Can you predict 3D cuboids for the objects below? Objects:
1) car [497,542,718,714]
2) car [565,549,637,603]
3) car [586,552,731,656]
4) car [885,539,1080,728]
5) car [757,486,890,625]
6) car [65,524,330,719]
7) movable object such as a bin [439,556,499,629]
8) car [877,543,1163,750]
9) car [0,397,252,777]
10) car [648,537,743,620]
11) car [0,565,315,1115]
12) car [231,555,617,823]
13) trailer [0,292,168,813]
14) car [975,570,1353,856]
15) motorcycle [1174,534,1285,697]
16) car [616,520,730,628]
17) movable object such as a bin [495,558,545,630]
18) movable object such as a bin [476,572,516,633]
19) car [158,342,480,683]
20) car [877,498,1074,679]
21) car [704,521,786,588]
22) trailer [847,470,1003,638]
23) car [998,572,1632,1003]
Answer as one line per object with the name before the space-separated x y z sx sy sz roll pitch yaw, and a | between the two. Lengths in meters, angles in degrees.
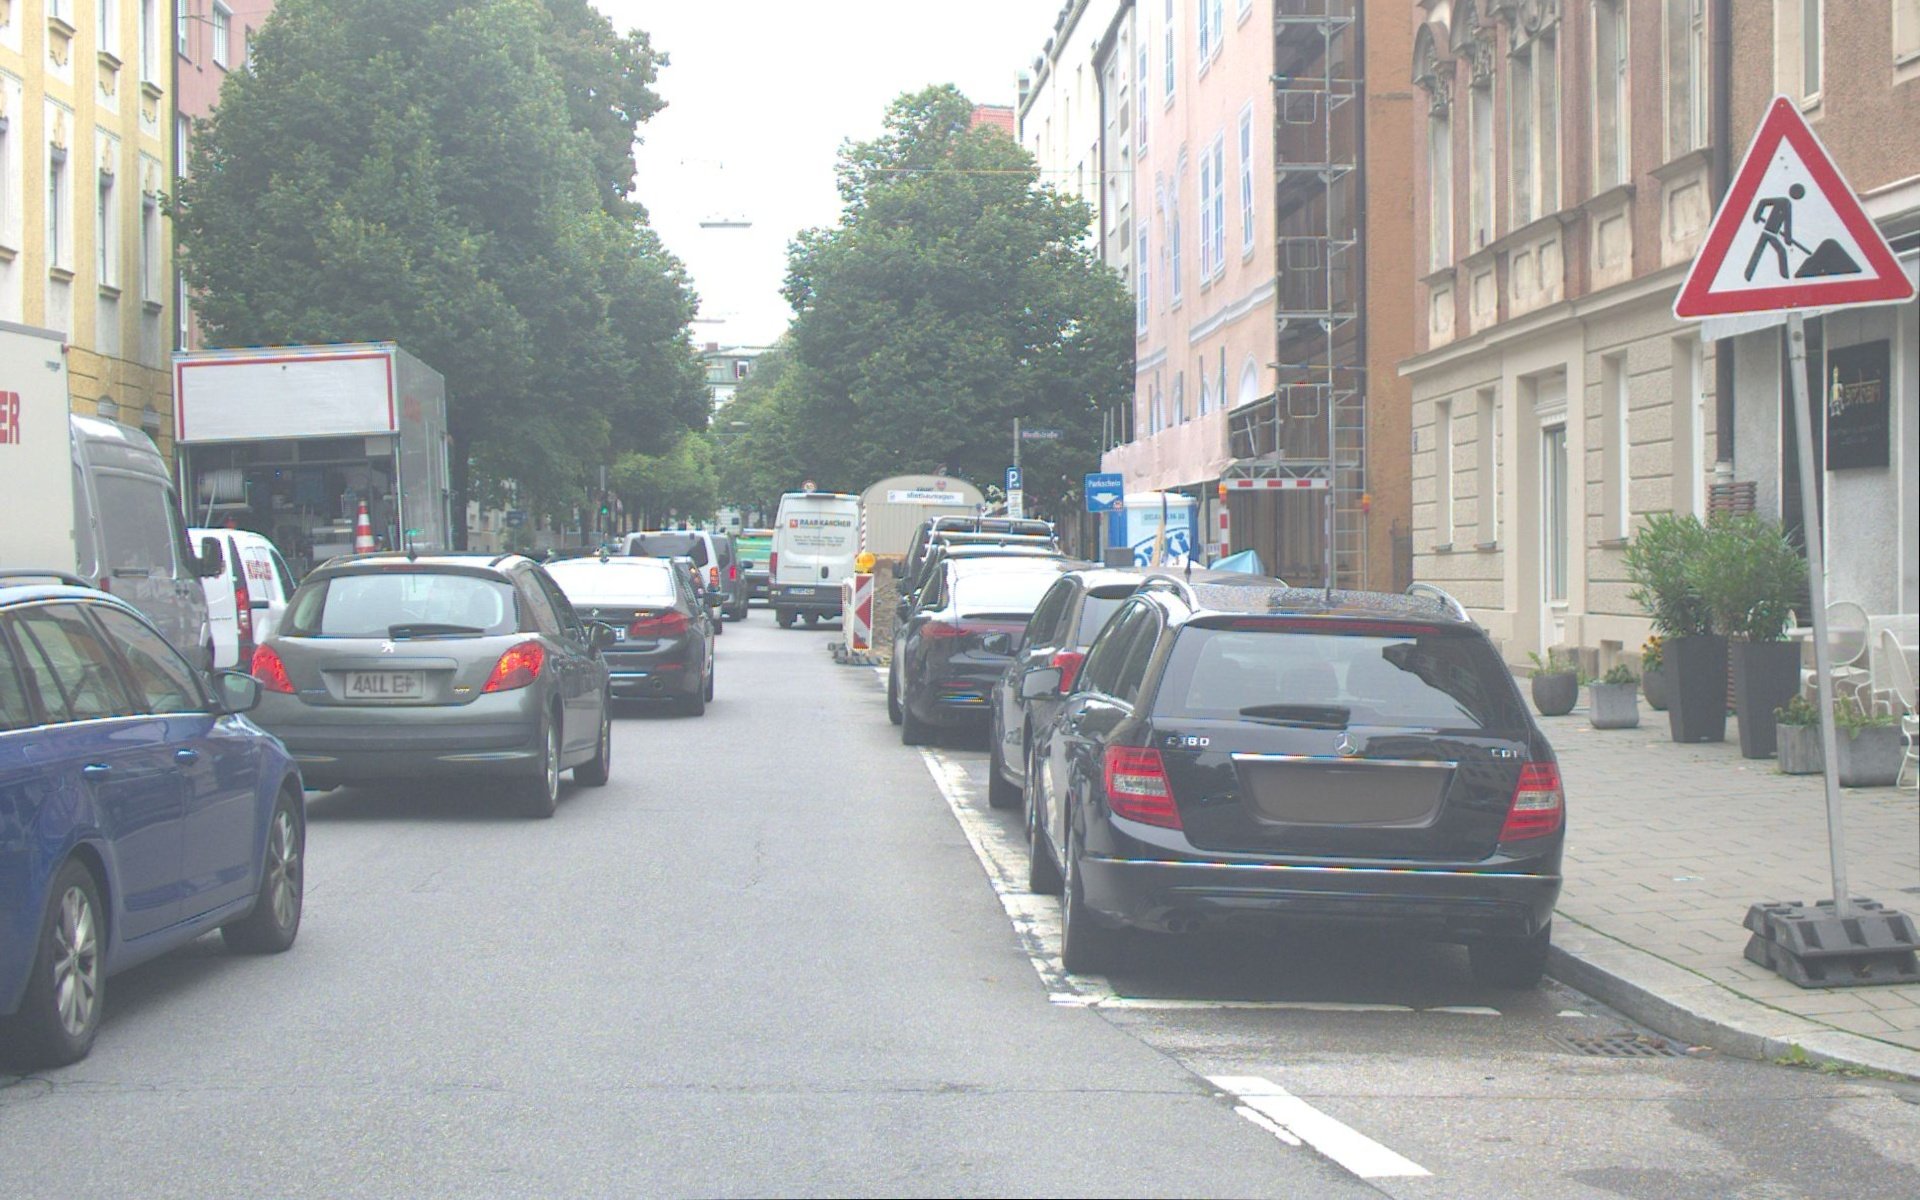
car | -3.240 0.211 32.273 1.867 1.449 4.348 1 1 -4
car | -10.254 -0.699 98.417 1.812 1.473 4.001 1 1 -3
car | -4.289 0.026 49.410 1.867 1.343 4.348 1 1 -3
car | 0.158 0.300 34.113 1.693 1.671 4.408 3 0 -2
car | -2.701 -0.879 69.327 2.113 2.654 5.499 1 0 3
car | -7.577 0.175 34.549 1.763 1.773 4.327 -2 1 -2
movable object such as a bin | -9.666 -0.153 67.734 1.081 1.372 1.084 -2 1 -7
car | 0.387 0.306 28.763 1.930 1.548 5.638 0 1 -4
car | -7.241 -0.094 27.130 2.056 2.578 6.877 -4 1 -3
car | -5.578 -0.477 72.897 1.867 1.647 4.348 1 1 -3
car | -3.415 0.627 11.028 1.789 1.455 4.314 0 1 1
car | -3.017 0.453 20.005 1.741 1.417 3.664 0 1 -1
trailer | -6.855 -0.216 19.636 2.803 2.959 7.600 -3 2 0
car | 1.016 0.539 18.998 1.572 1.390 4.183 -1 0 -4
motorcycle | 2.545 0.134 32.654 0.871 1.499 1.997 0 1 -1
car | -5.202 -0.501 62.702 1.867 1.863 4.348 1 1 -3
movable object such as a bin | -8.675 -0.124 67.864 0.918 1.372 1.080 -2 1 -7
movable object such as a bin | -9.039 0.039 66.933 0.711 1.144 0.636 -2 1 -6
car | -7.789 -1.027 42.882 2.812 3.804 8.724 0 1 -3
car | 0.108 -0.066 40.164 2.082 1.914 5.140 1 -2 -2
car | -5.522 -1.188 88.103 2.007 1.647 4.348 1 1 -4
trailer | -0.712 -0.808 62.314 2.502 2.830 6.902 1 0 -3
car | 1.206 0.603 13.785 1.846 1.400 4.788 0 1 -2
